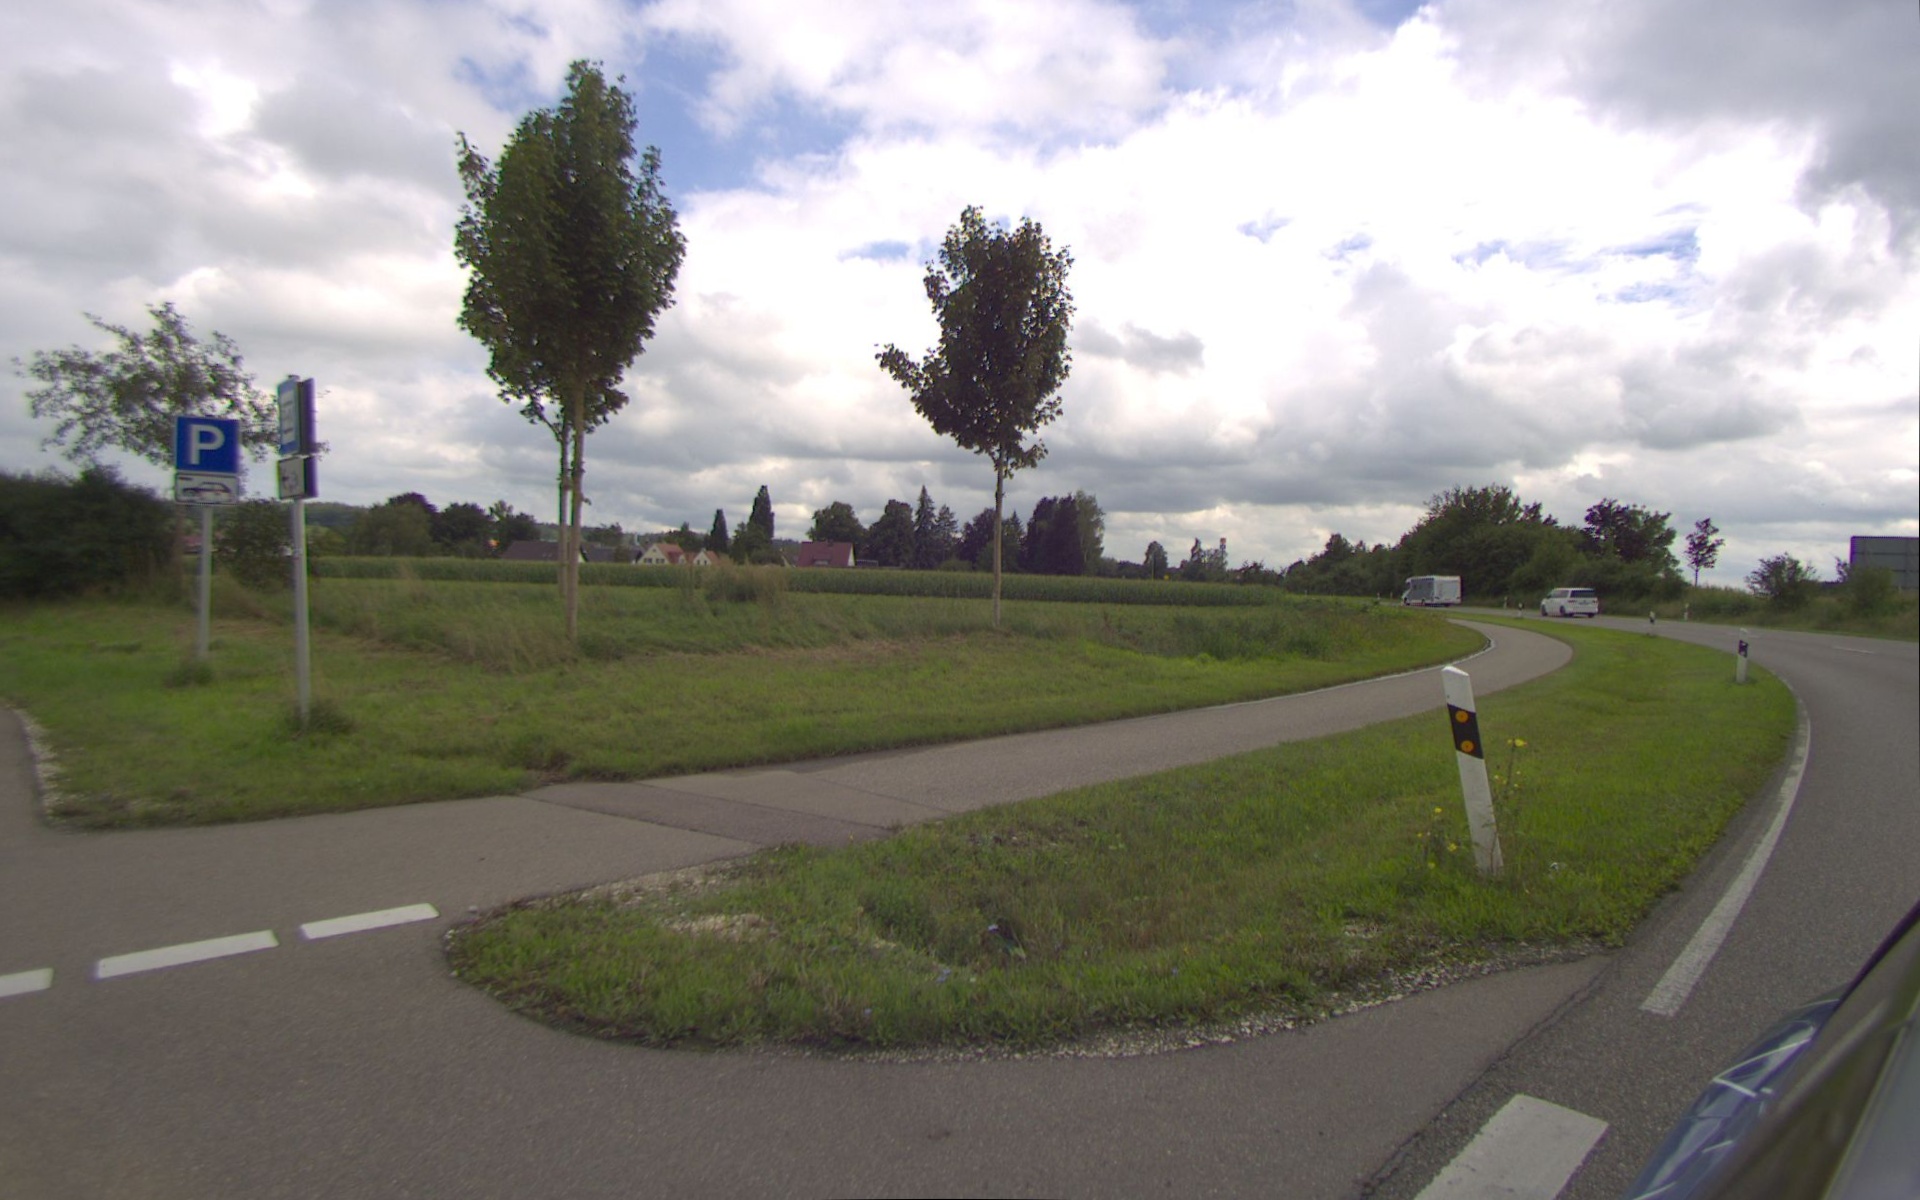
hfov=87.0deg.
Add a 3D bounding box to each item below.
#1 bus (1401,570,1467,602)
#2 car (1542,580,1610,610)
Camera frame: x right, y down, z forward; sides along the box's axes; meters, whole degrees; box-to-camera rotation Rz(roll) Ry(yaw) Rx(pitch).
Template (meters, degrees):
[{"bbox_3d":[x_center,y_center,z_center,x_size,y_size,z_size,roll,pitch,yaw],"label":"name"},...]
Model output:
[{"bbox_3d":[43.240,-1.303,92.607,2.438,2.745,8.424,1,1,3],"label":"bus"},{"bbox_3d":[41.209,-0.349,67.883,2.086,1.892,5.173,1,1,10],"label":"car"}]
